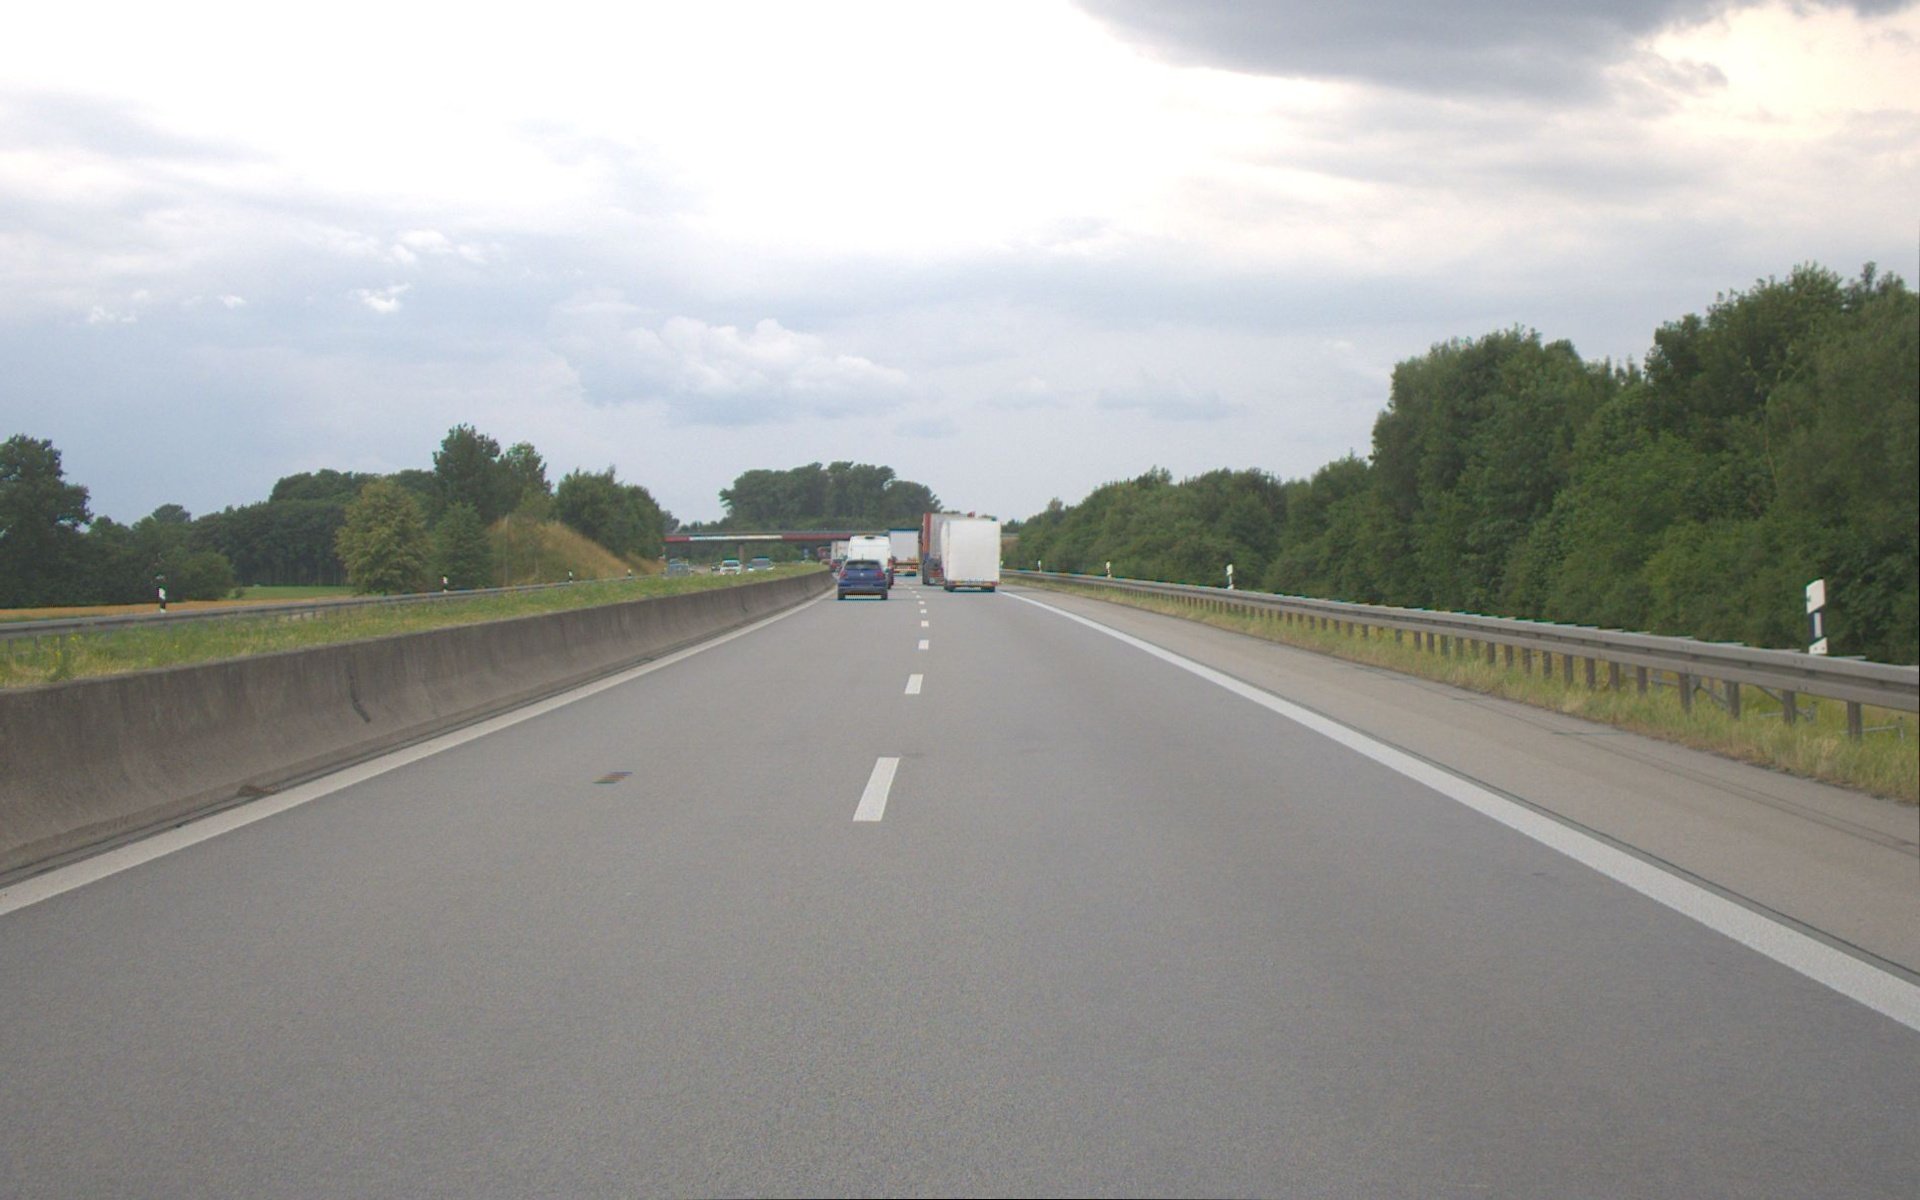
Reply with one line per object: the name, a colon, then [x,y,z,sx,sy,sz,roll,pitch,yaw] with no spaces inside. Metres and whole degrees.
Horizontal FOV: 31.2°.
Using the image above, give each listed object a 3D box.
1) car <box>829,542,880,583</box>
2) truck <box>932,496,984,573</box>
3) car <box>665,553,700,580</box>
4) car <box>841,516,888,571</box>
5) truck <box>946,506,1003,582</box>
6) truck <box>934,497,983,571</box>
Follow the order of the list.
car: [-3.672,-1.312,119.263,1.663,1.402,3.649,0,1,-3]
truck: [-0.077,-3.562,186.670,2.673,4.032,11.108,-1,1,0]
car: [-16.275,-1.958,201.717,1.746,1.482,4.530,-3,1,-1]
car: [-4.472,-2.632,161.752,2.130,2.474,5.840,-1,0,-1]
truck: [0.611,-2.416,149.737,2.415,3.211,7.144,0,0,0]
truck: [-0.077,-3.665,192.037,2.673,4.032,5.512,-1,1,0]
